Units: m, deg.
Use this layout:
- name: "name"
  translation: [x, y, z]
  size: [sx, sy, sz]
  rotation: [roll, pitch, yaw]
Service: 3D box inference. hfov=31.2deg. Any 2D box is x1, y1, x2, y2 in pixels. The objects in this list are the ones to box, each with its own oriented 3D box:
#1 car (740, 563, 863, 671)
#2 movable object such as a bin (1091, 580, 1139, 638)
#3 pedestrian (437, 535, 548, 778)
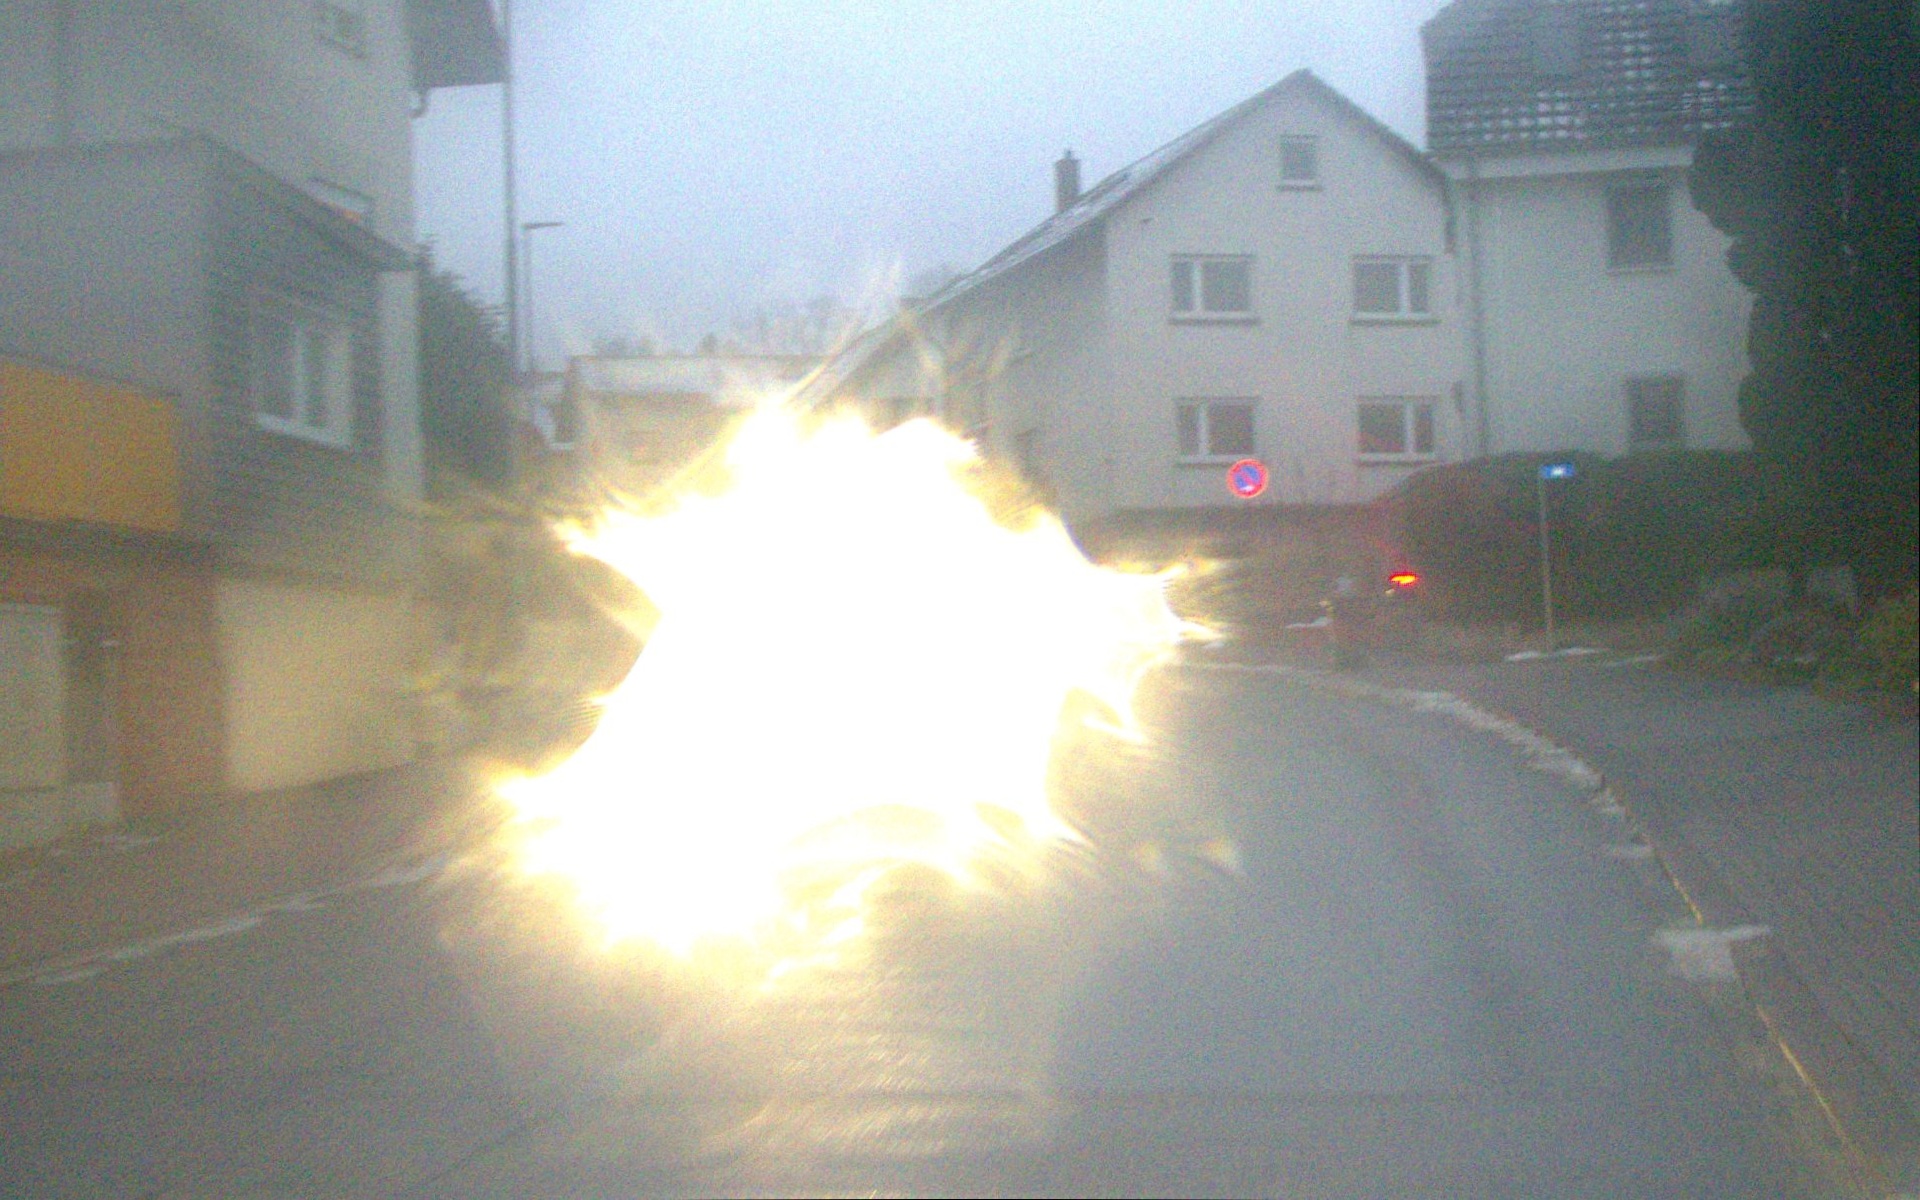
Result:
- name: "car"
  translation: [-3.144, 0.305, 69.025]
  size: [2.110, 2.020, 4.982]
  rotation: [-2, 0, 1]
- name: "movable object such as a bin"
  translation: [2.466, 0.144, 54.825]
  size: [0.637, 0.914, 0.686]
  rotation: [-1, 0, -8]
- name: "pedestrian"
  translation: [-3.371, 0.406, 24.824]
  size: [0.598, 1.727, 0.812]
  rotation: [0, -1, 8]
